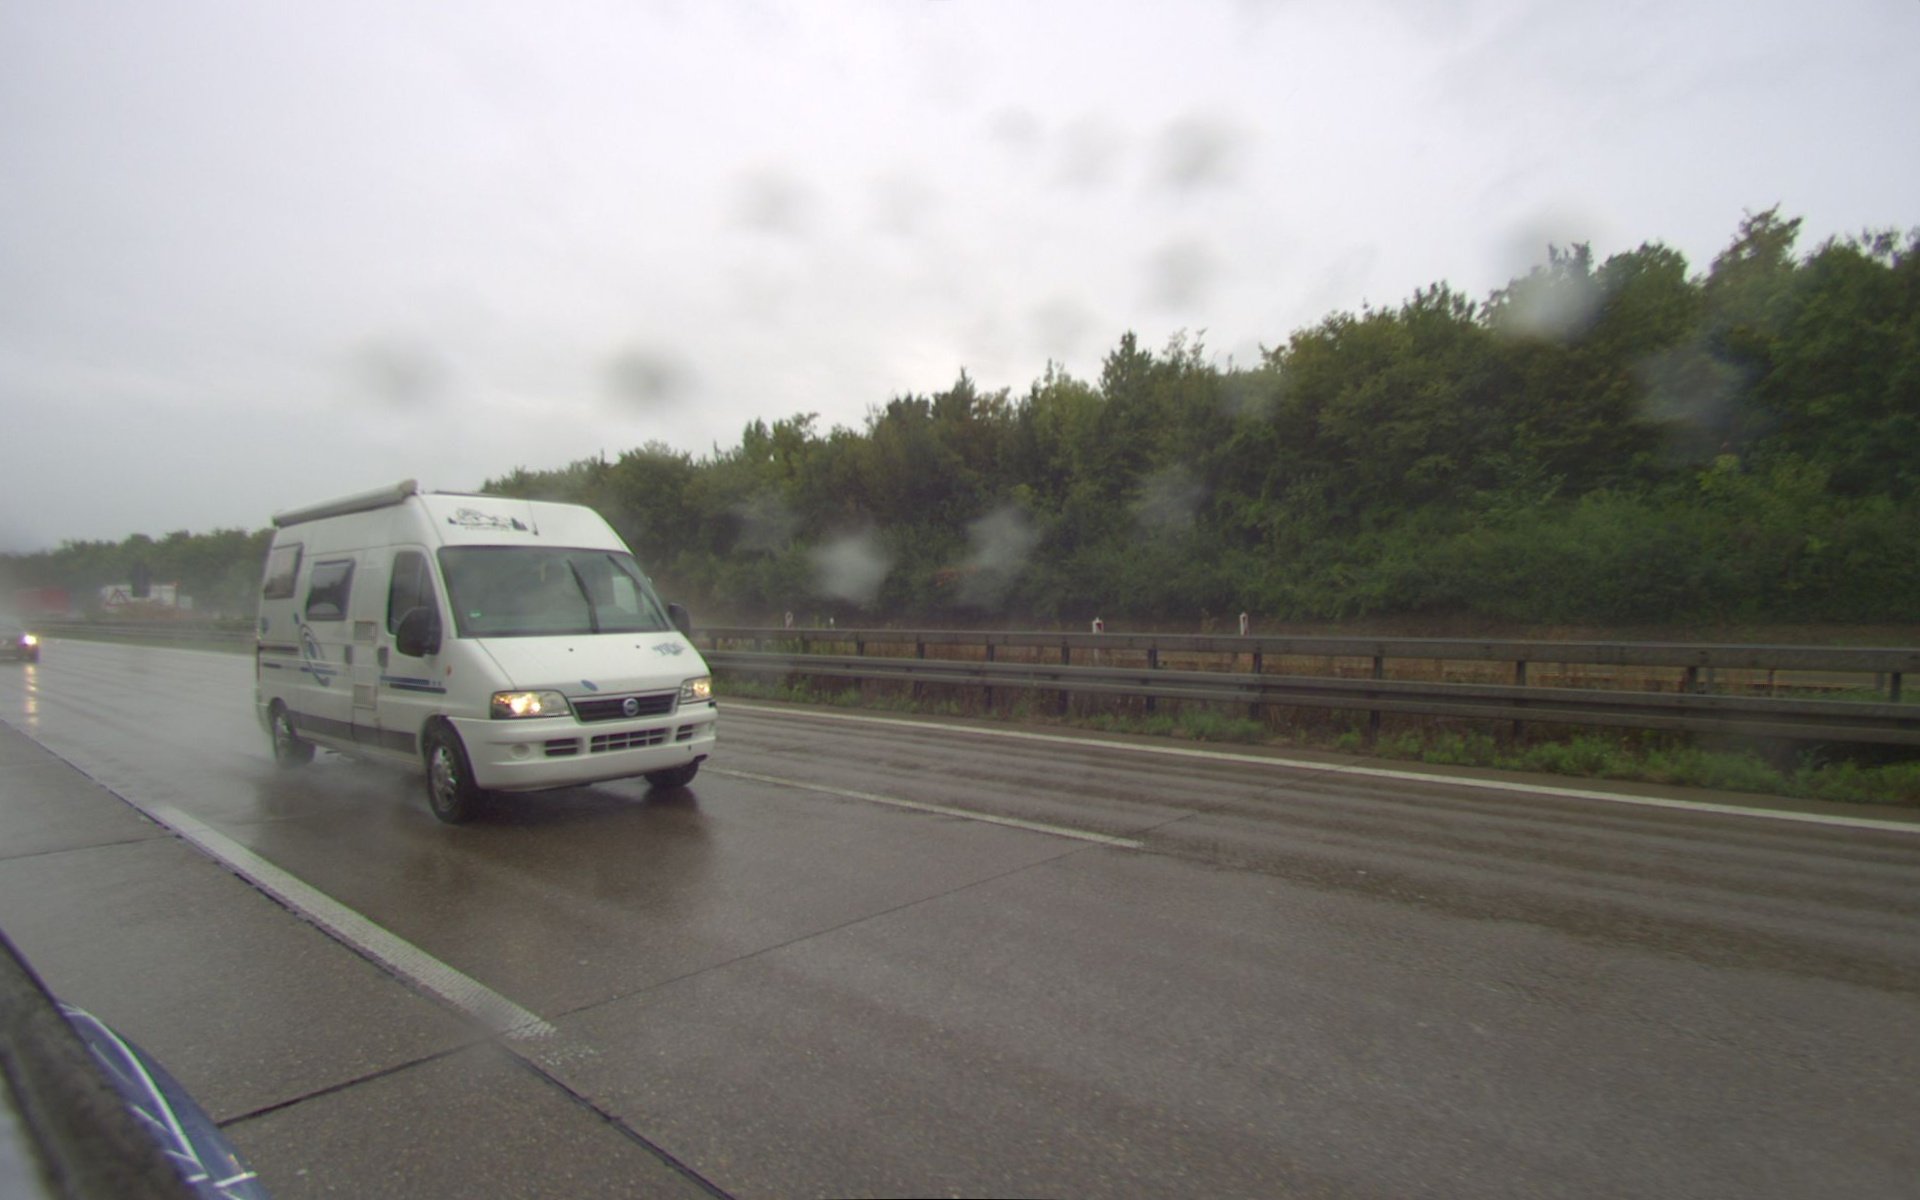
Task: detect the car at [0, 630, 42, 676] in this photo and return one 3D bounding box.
[{"bbox_3d":[-31.515,1.696,32.974,4.317,1.398,1.723,-1,-3,40],"label":"car"}]

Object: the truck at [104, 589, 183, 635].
[{"bbox_3d":[-81.426,1.261,100.712,16.357,4.277,3.092,-1,-1,40],"label":"truck"}]

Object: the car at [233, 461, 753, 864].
[{"bbox_3d":[-4.383,0.428,8.825,5.788,2.450,1.977,-1,-1,42],"label":"car"}]

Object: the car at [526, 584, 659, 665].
[{"bbox_3d":[-14.541,0.948,39.799,6.531,2.922,2.066,-1,-1,42],"label":"car"}]

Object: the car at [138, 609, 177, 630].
[{"bbox_3d":[-67.163,1.620,84.701,3.998,1.671,1.926,-1,-1,42],"label":"car"}]

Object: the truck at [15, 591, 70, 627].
[{"bbox_3d":[-113.949,1.218,125.565,13.526,4.277,3.093,-1,-1,39],"label":"truck"}]
